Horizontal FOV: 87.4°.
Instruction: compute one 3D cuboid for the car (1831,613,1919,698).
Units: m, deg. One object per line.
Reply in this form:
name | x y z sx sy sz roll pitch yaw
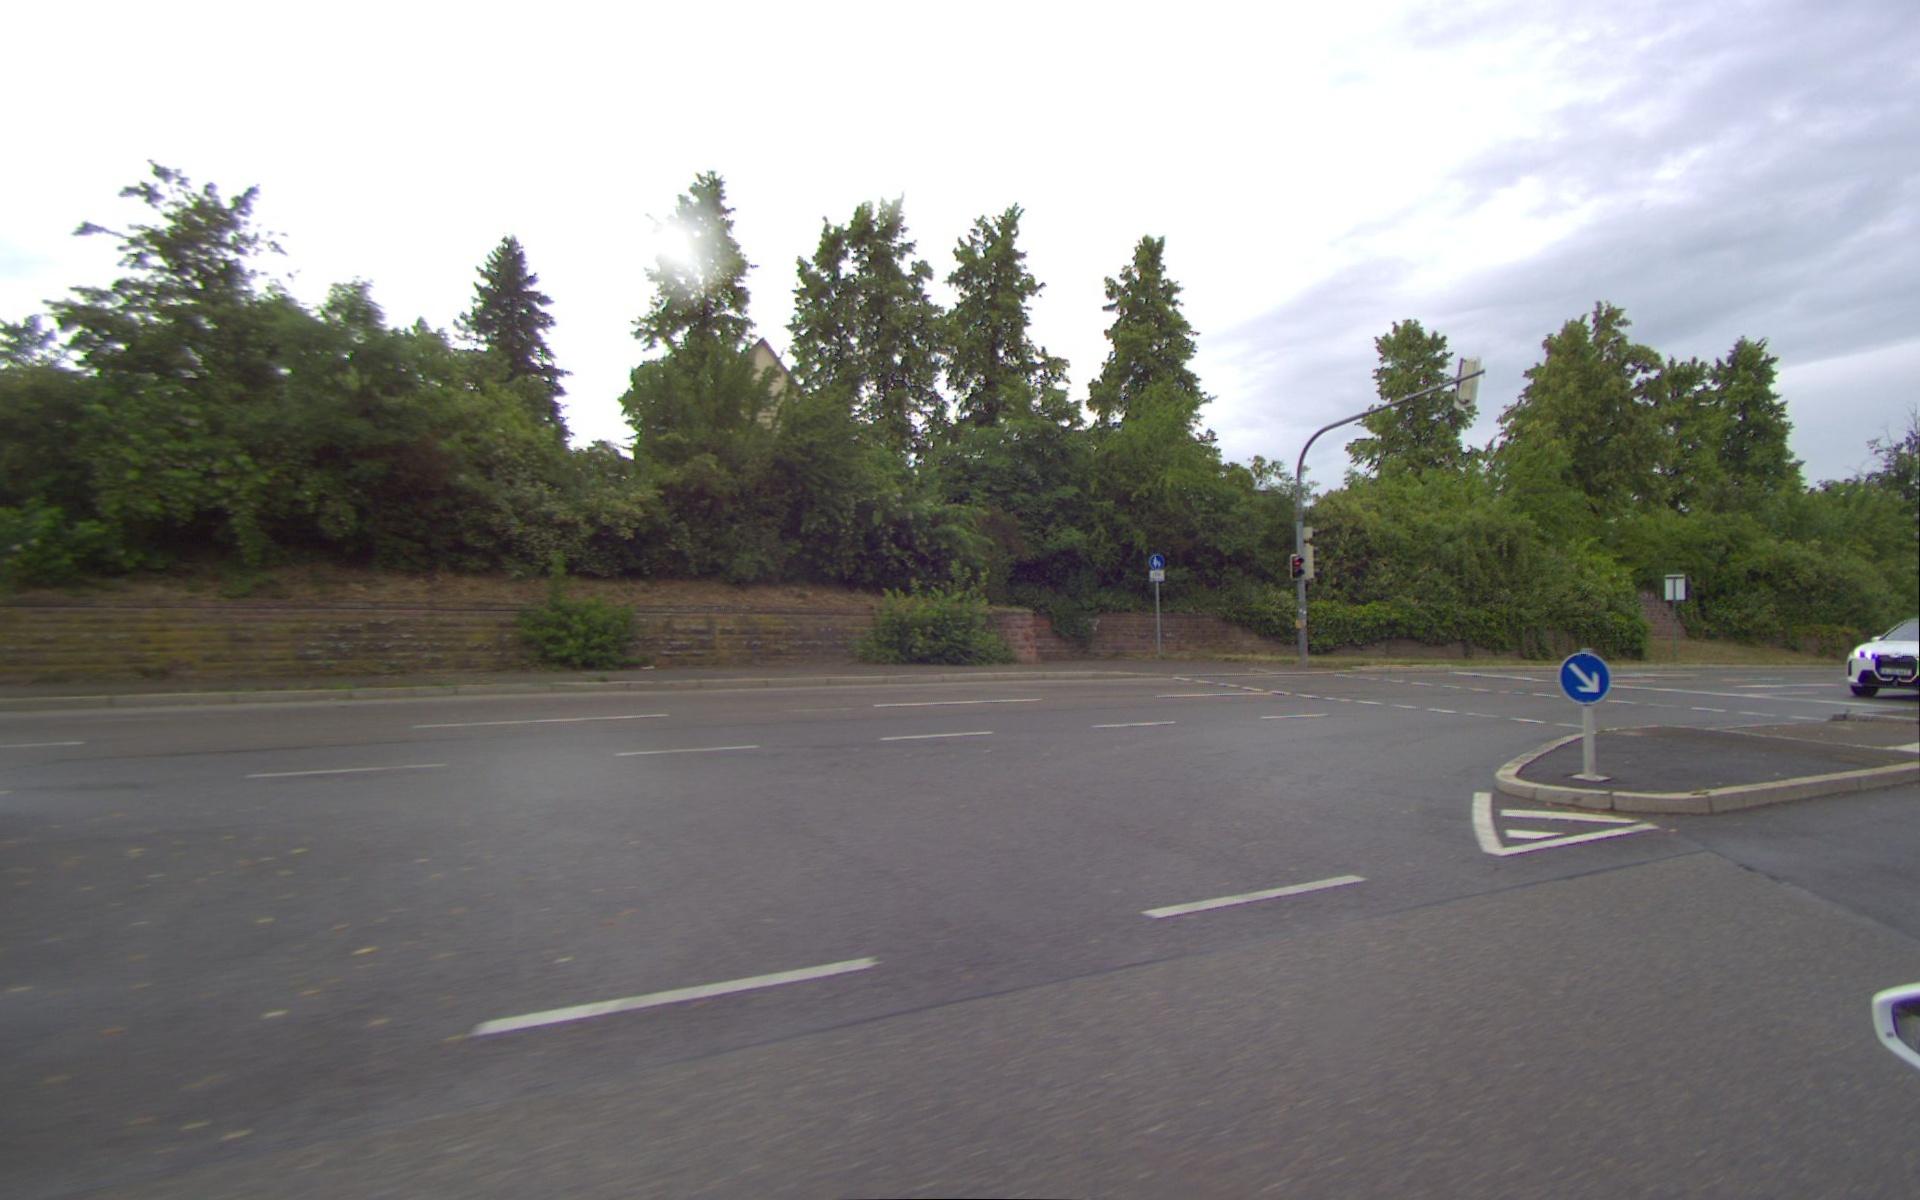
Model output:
car | 20.743 1.134 21.116 4.939 1.657 1.938 1 -1 -26
